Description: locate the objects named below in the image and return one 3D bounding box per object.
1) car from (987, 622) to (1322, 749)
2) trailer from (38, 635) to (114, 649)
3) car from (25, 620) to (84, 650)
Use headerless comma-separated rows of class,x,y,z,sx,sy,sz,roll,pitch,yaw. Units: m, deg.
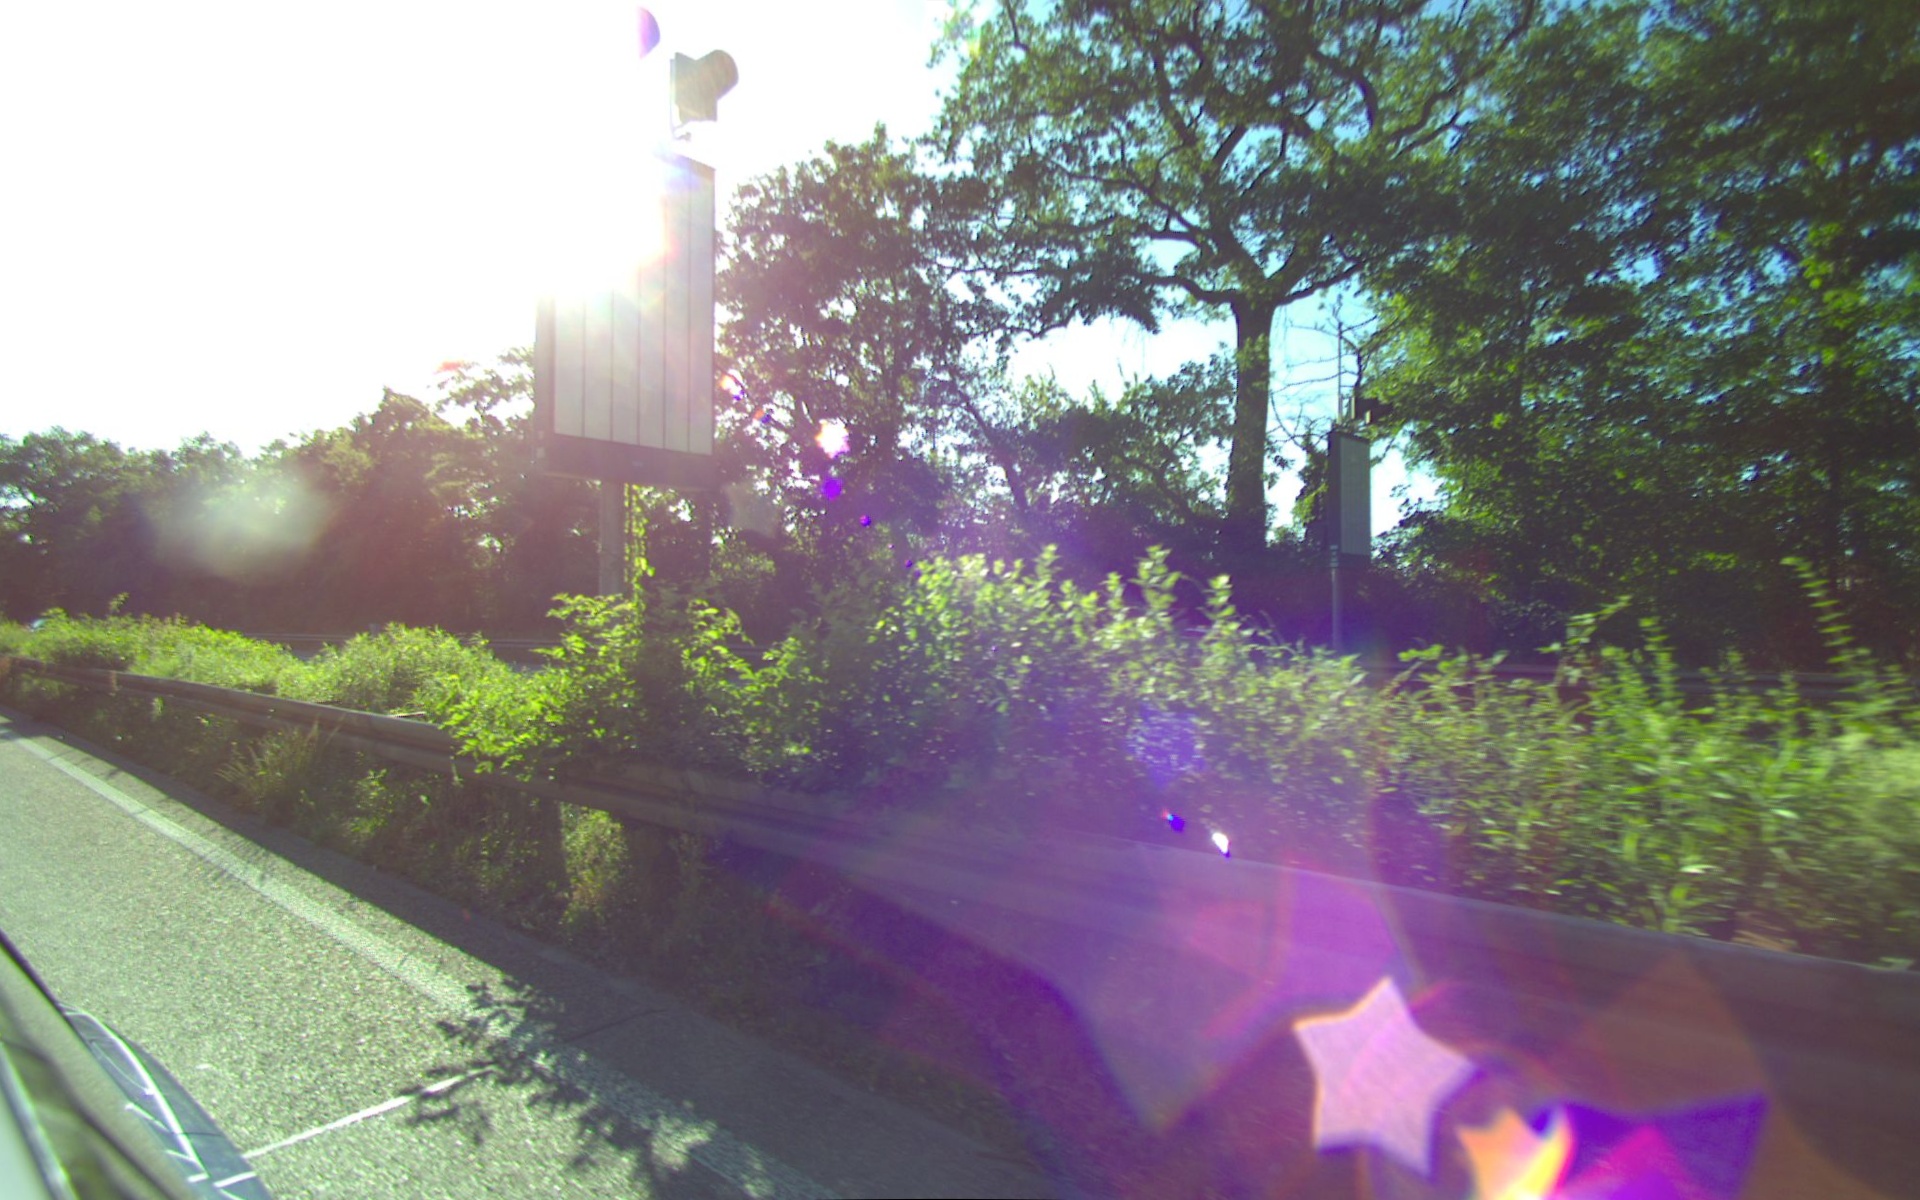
car,2.504,1.022,13.626,4.129,1.435,1.691,-1,-1,40
trailer,-51.868,2.435,59.343,6.323,0.746,2.236,-1,-1,38
car,-56.415,2.147,63.018,4.738,1.737,1.942,-1,0,38
